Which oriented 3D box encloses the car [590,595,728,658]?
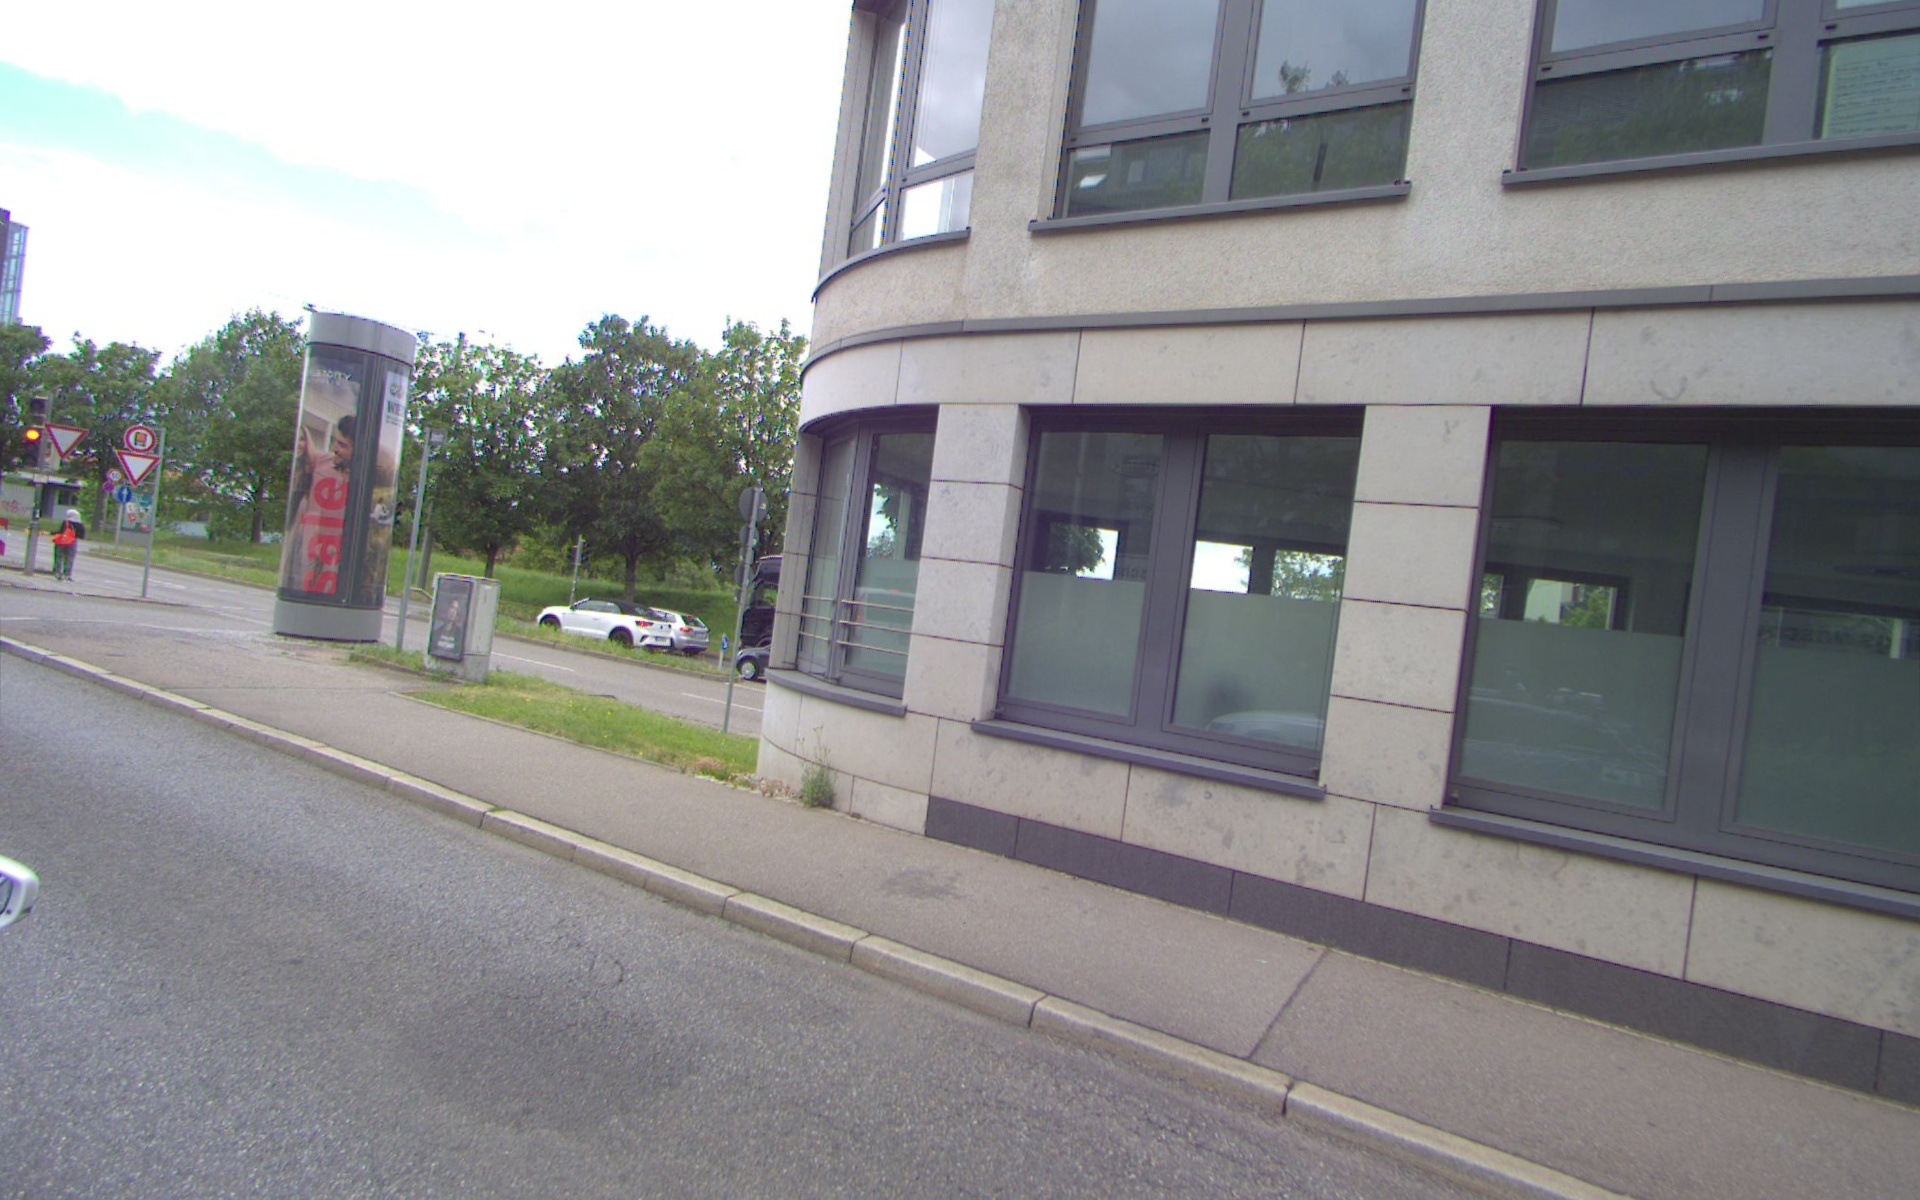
[{"bbox_3d":[-10.259,0.913,34.325,3.925,1.469,2.003,8,-3,19],"label":"car"}]

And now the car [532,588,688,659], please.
[{"bbox_3d":[-10.653,0.728,30.697,3.925,1.469,2.003,8,-3,19],"label":"car"}]

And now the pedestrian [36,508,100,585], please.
[{"bbox_3d":[-19.955,-1.182,22.513,0.564,1.602,0.739,9,-2,-8],"label":"pedestrian"}]

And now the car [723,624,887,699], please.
[{"bbox_3d":[-4.357,1.754,28.453,3.925,1.469,2.003,8,-3,19],"label":"car"}]

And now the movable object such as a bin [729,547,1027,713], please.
[{"bbox_3d":[-2.553,0.894,31.282,8.410,3.949,2.870,7,-1,18],"label":"movable object such as a bin"}]
